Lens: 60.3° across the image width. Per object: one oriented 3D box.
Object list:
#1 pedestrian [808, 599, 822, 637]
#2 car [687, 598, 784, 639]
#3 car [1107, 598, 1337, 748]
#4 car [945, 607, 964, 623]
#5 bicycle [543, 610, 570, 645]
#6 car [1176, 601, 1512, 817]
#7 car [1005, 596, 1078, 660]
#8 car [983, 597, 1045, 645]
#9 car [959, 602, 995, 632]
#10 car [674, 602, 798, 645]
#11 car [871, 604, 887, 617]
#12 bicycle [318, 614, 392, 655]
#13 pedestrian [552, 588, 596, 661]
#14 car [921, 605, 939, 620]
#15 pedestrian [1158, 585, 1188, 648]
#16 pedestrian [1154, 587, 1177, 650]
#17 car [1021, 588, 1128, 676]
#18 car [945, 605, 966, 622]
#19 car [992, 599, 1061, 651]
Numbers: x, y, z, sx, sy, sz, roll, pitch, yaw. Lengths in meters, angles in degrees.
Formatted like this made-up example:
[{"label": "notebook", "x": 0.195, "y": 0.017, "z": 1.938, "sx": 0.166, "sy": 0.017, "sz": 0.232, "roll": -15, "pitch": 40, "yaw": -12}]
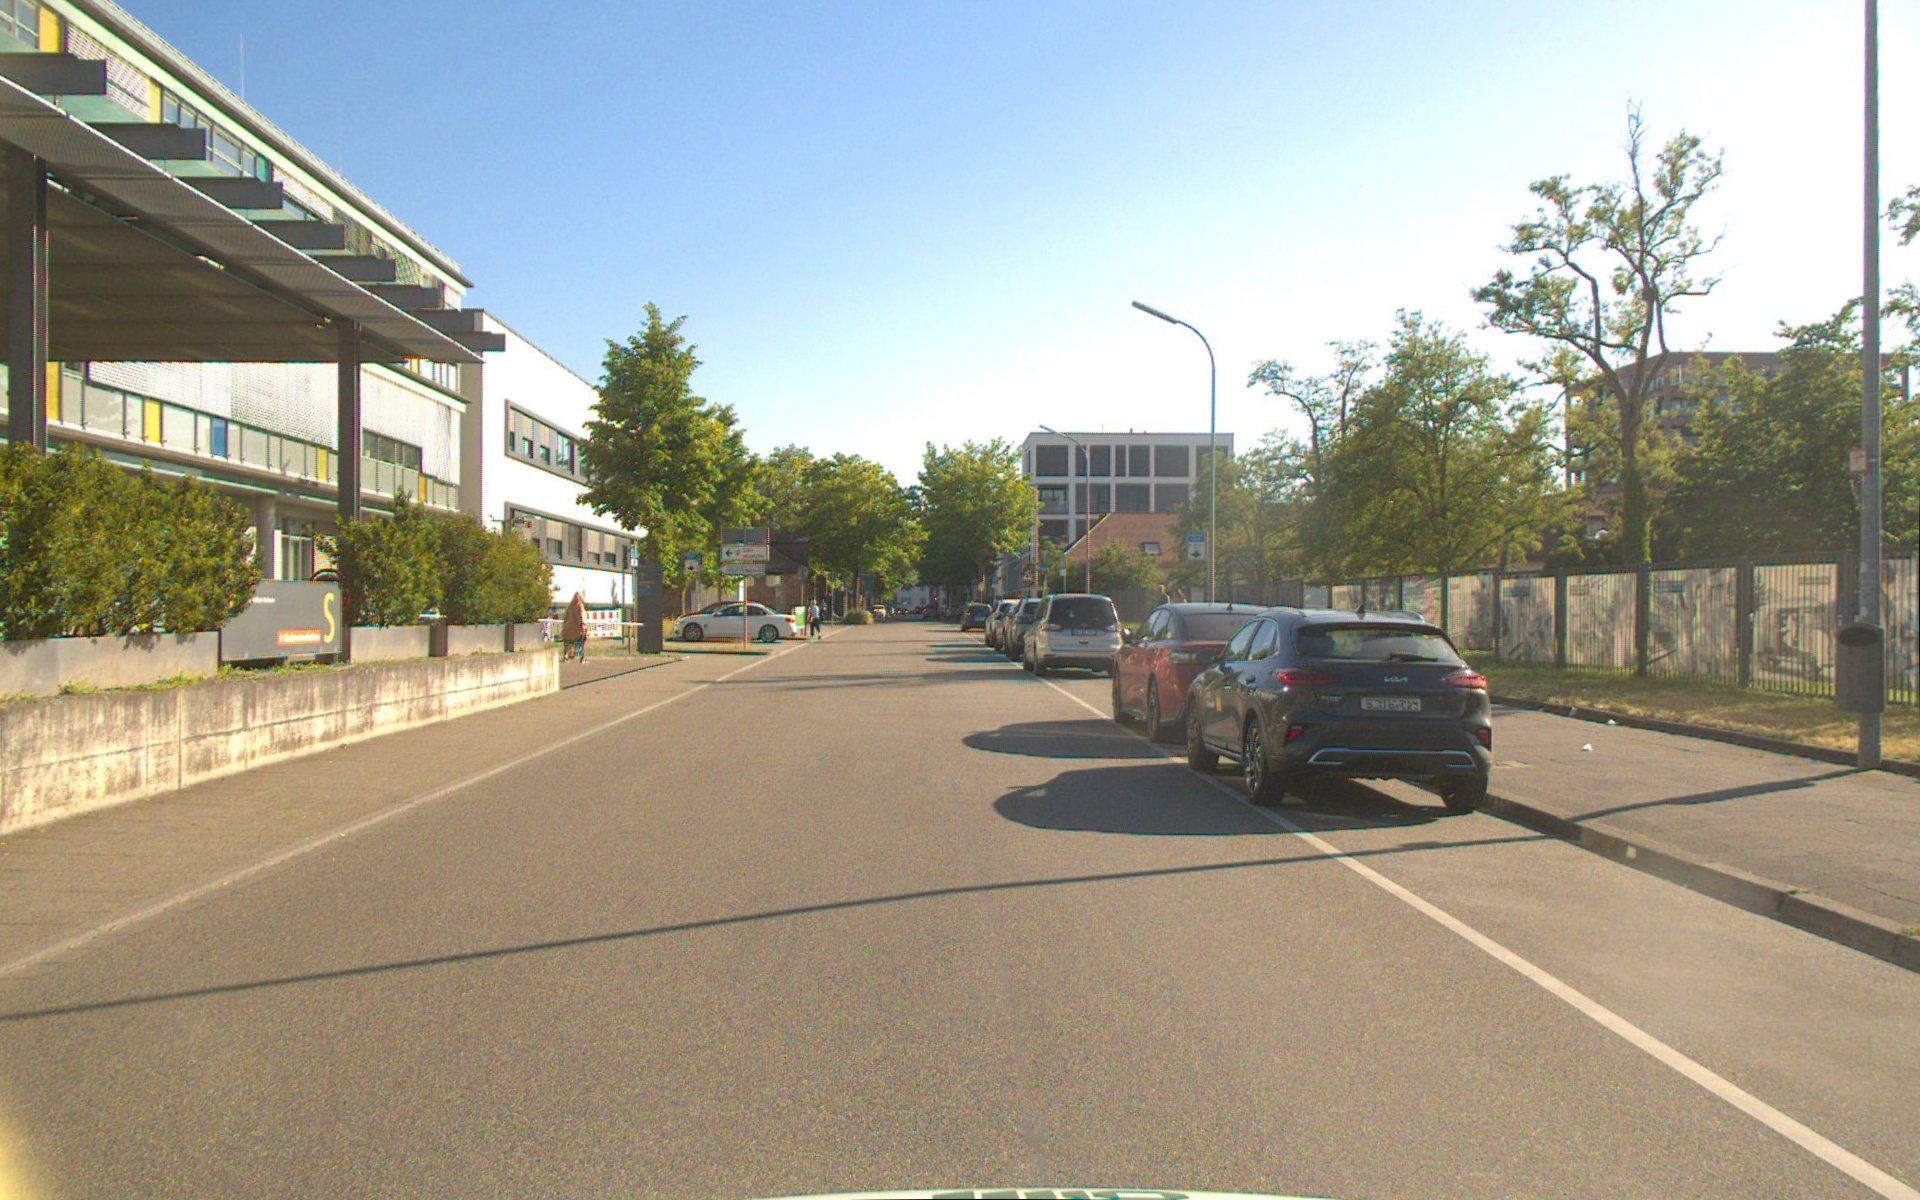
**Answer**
[{"label": "pedestrian", "x": -5.989, "y": 0.743, "z": 68.286, "sx": 0.527, "sy": 1.550, "sz": 0.607, "roll": 0, "pitch": 0, "yaw": -1}, {"label": "car", "x": -8.620, "y": 0.693, "z": 63.820, "sx": 3.563, "sy": 1.495, "sz": 1.613, "roll": 1, "pitch": 0, "yaw": -4}, {"label": "car", "x": 2.971, "y": 0.769, "z": 19.761, "sx": 1.773, "sy": 1.537, "sz": 4.719, "roll": 1, "pitch": 0, "yaw": -3}, {"label": "car", "x": -0.598, "y": 1.597, "z": 176.824, "sx": 1.911, "sy": 1.606, "sz": 3.835, "roll": 0, "pitch": 0, "yaw": -1}, {"label": "bicycle", "x": -13.370, "y": 0.915, "z": 54.871, "sx": 0.524, "sy": 1.131, "sz": 1.860, "roll": 0, "pitch": 0, "yaw": -3}, {"label": "car", "x": 3.037, "y": 0.786, "z": 13.978, "sx": 1.667, "sy": 1.513, "sz": 4.213, "roll": 1, "pitch": 0, "yaw": -3}, {"label": "car", "x": 2.180, "y": 0.724, "z": 45.400, "sx": 1.666, "sy": 1.634, "sz": 4.351, "roll": 1, "pitch": 0, "yaw": -1}, {"label": "car", "x": 1.892, "y": 0.722, "z": 58.969, "sx": 1.777, "sy": 1.616, "sz": 4.259, "roll": 1, "pitch": 0, "yaw": -3}, {"label": "car", "x": 0.886, "y": 0.867, "z": 86.602, "sx": 1.781, "sy": 1.478, "sz": 4.213, "roll": 0, "pitch": 0, "yaw": -1}, {"label": "car", "x": -8.255, "y": 0.857, "z": 61.129, "sx": 4.426, "sy": 1.391, "sz": 1.697, "roll": 2, "pitch": 0, "yaw": -7}, {"label": "car", "x": -9.194, "y": 1.205, "z": 187.543, "sx": 1.732, "sy": 1.513, "sz": 3.997, "roll": 0, "pitch": 0, "yaw": -3}, {"label": "bicycle", "x": -15.376, "y": 0.879, "z": 42.041, "sx": 1.681, "sy": 1.011, "sz": 0.536, "roll": 0, "pitch": 0, "yaw": -3}, {"label": "pedestrian", "x": -8.573, "y": 0.545, "z": 36.714, "sx": 0.757, "sy": 1.576, "sz": 0.780, "roll": 2, "pitch": -1, "yaw": -2}, {"label": "car", "x": -3.057, "y": 1.254, "z": 166.787, "sx": 1.732, "sy": 1.575, "sz": 4.063, "roll": 0, "pitch": 0, "yaw": -3}, {"label": "pedestrian", "x": 5.649, "y": 0.444, "z": 43.921, "sx": 0.668, "sy": 1.640, "sz": 0.540, "roll": 2, "pitch": -1, "yaw": -4}, {"label": "pedestrian", "x": 5.685, "y": 0.514, "z": 45.748, "sx": 0.511, "sy": 1.738, "sz": 0.521, "roll": 2, "pitch": -1, "yaw": -4}, {"label": "car", "x": 2.416, "y": 0.659, "z": 36.088, "sx": 1.773, "sy": 1.752, "sz": 4.702, "roll": 1, "pitch": 0, "yaw": -3}, {"label": "car", "x": -0.416, "y": 1.216, "z": 147.695, "sx": 1.732, "sy": 1.465, "sz": 3.997, "roll": 0, "pitch": 0, "yaw": -3}, {"label": "car", "x": 2.027, "y": 0.755, "z": 51.256, "sx": 1.667, "sy": 1.513, "sz": 3.977, "roll": 1, "pitch": 0, "yaw": -4}]
